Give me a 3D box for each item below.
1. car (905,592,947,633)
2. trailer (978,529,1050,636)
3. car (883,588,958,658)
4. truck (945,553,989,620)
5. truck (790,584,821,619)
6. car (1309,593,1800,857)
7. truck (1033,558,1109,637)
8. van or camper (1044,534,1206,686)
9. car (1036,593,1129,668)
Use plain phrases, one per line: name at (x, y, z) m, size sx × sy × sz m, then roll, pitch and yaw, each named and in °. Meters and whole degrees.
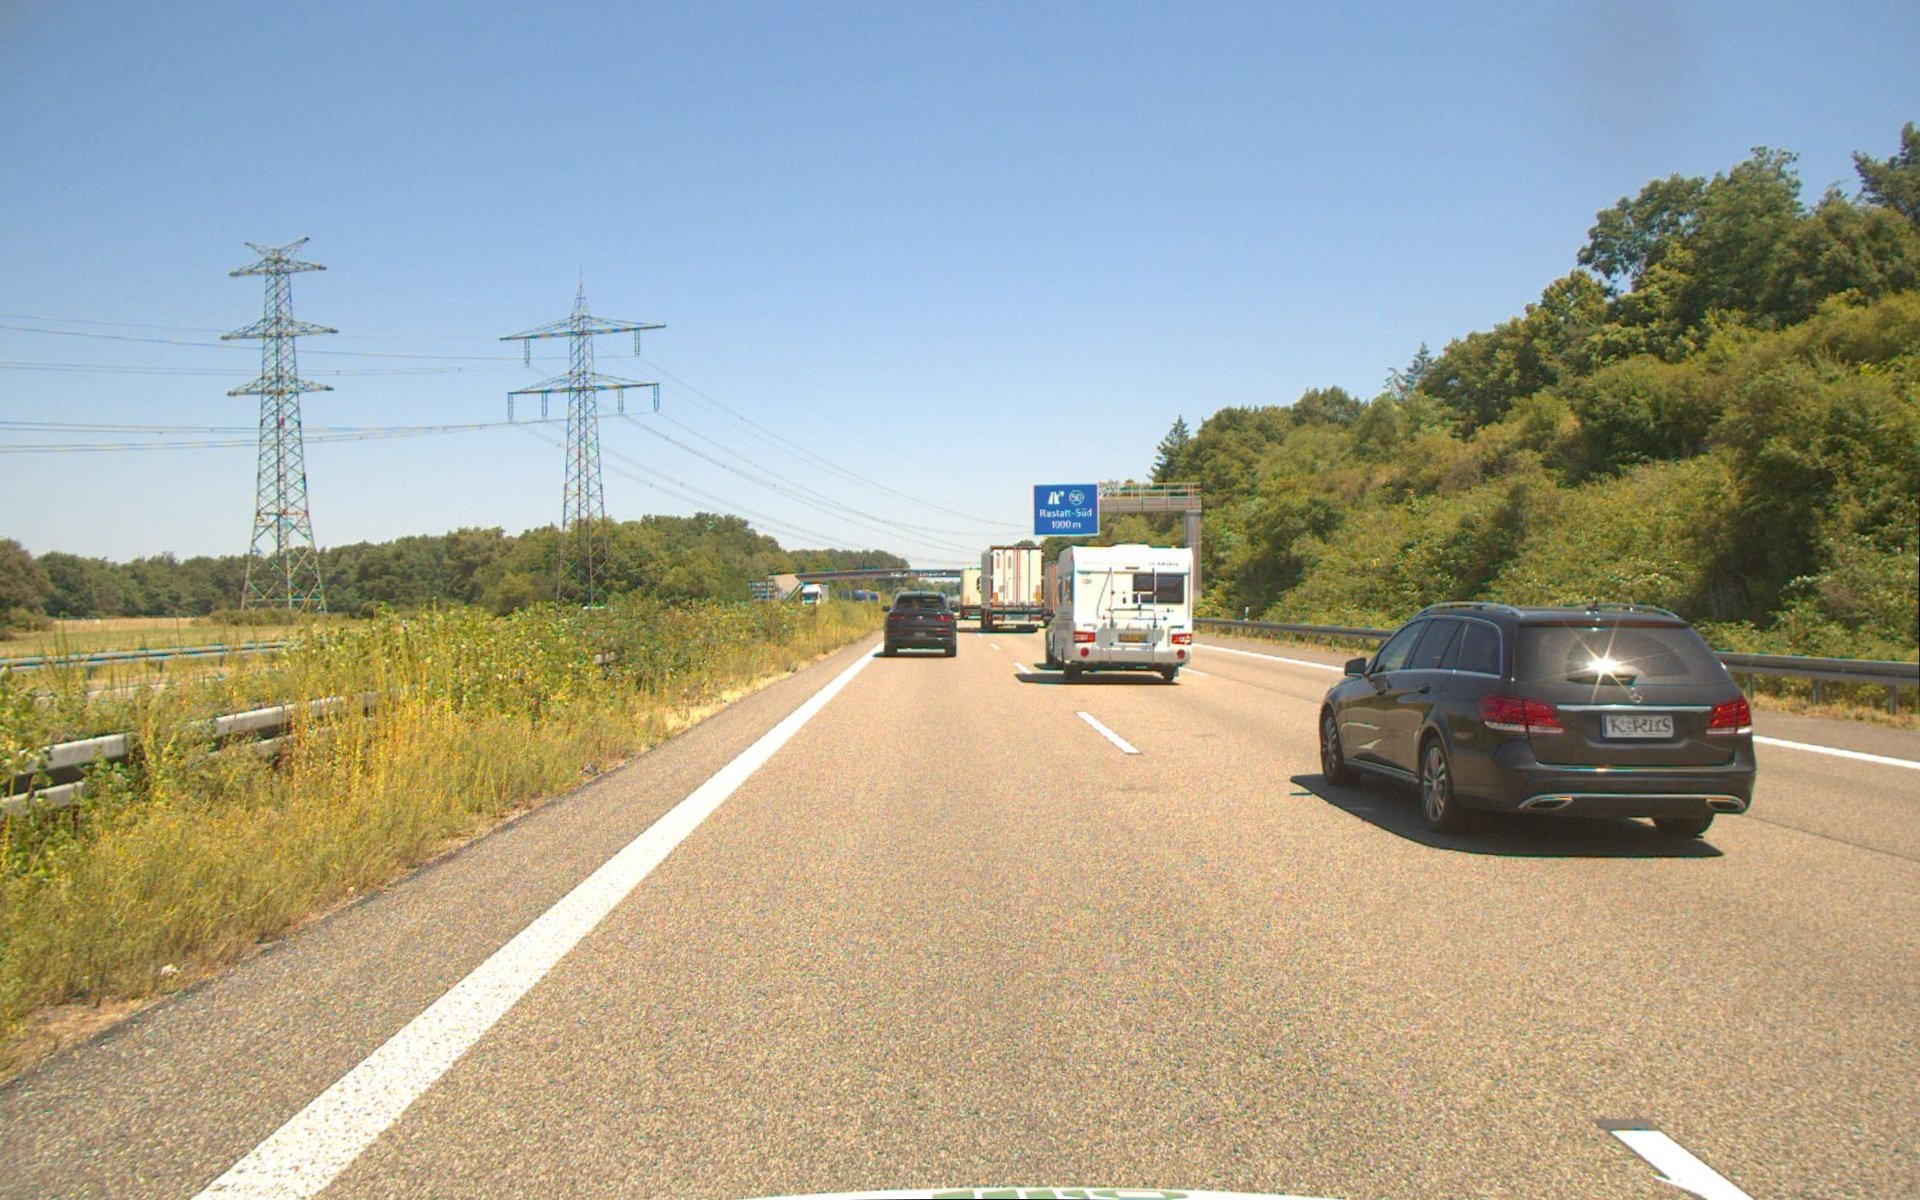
car at (-1.622, 0.578, 78.125) m, size 1.922 × 1.846 × 4.447 m, roll -1°, pitch 0°, yaw -2°
trailer at (2.595, -0.770, 83.609) m, size 3.024 × 4.970 × 12.255 m, roll 1°, pitch 0°, yaw -1°
car at (-1.087, 0.584, 45.184) m, size 1.953 × 1.803 × 3.999 m, roll -1°, pitch 0°, yaw -2°
truck at (0.484, -1.058, 135.123) m, size 3.440 × 5.257 × 10.256 m, roll 1°, pitch 0°, yaw -1°
truck at (-20.815, 0.157, 223.183) m, size 3.298 × 4.485 × 6.557 m, roll -2°, pitch 0°, yaw 2°
car at (3.995, 0.724, 12.079) m, size 1.804 × 1.532 × 4.737 m, roll 0°, pitch 0°, yaw -1°
truck at (6.455, -0.099, 98.095) m, size 3.498 × 4.319 × 11.649 m, roll 1°, pitch 0°, yaw -1°
van or camper at (3.136, 0.166, 32.950) m, size 2.390 × 2.721 × 6.347 m, roll -1°, pitch 0°, yaw -2°
car at (2.792, 0.662, 38.514) m, size 1.840 × 1.640 × 4.702 m, roll 0°, pitch 0°, yaw 0°
